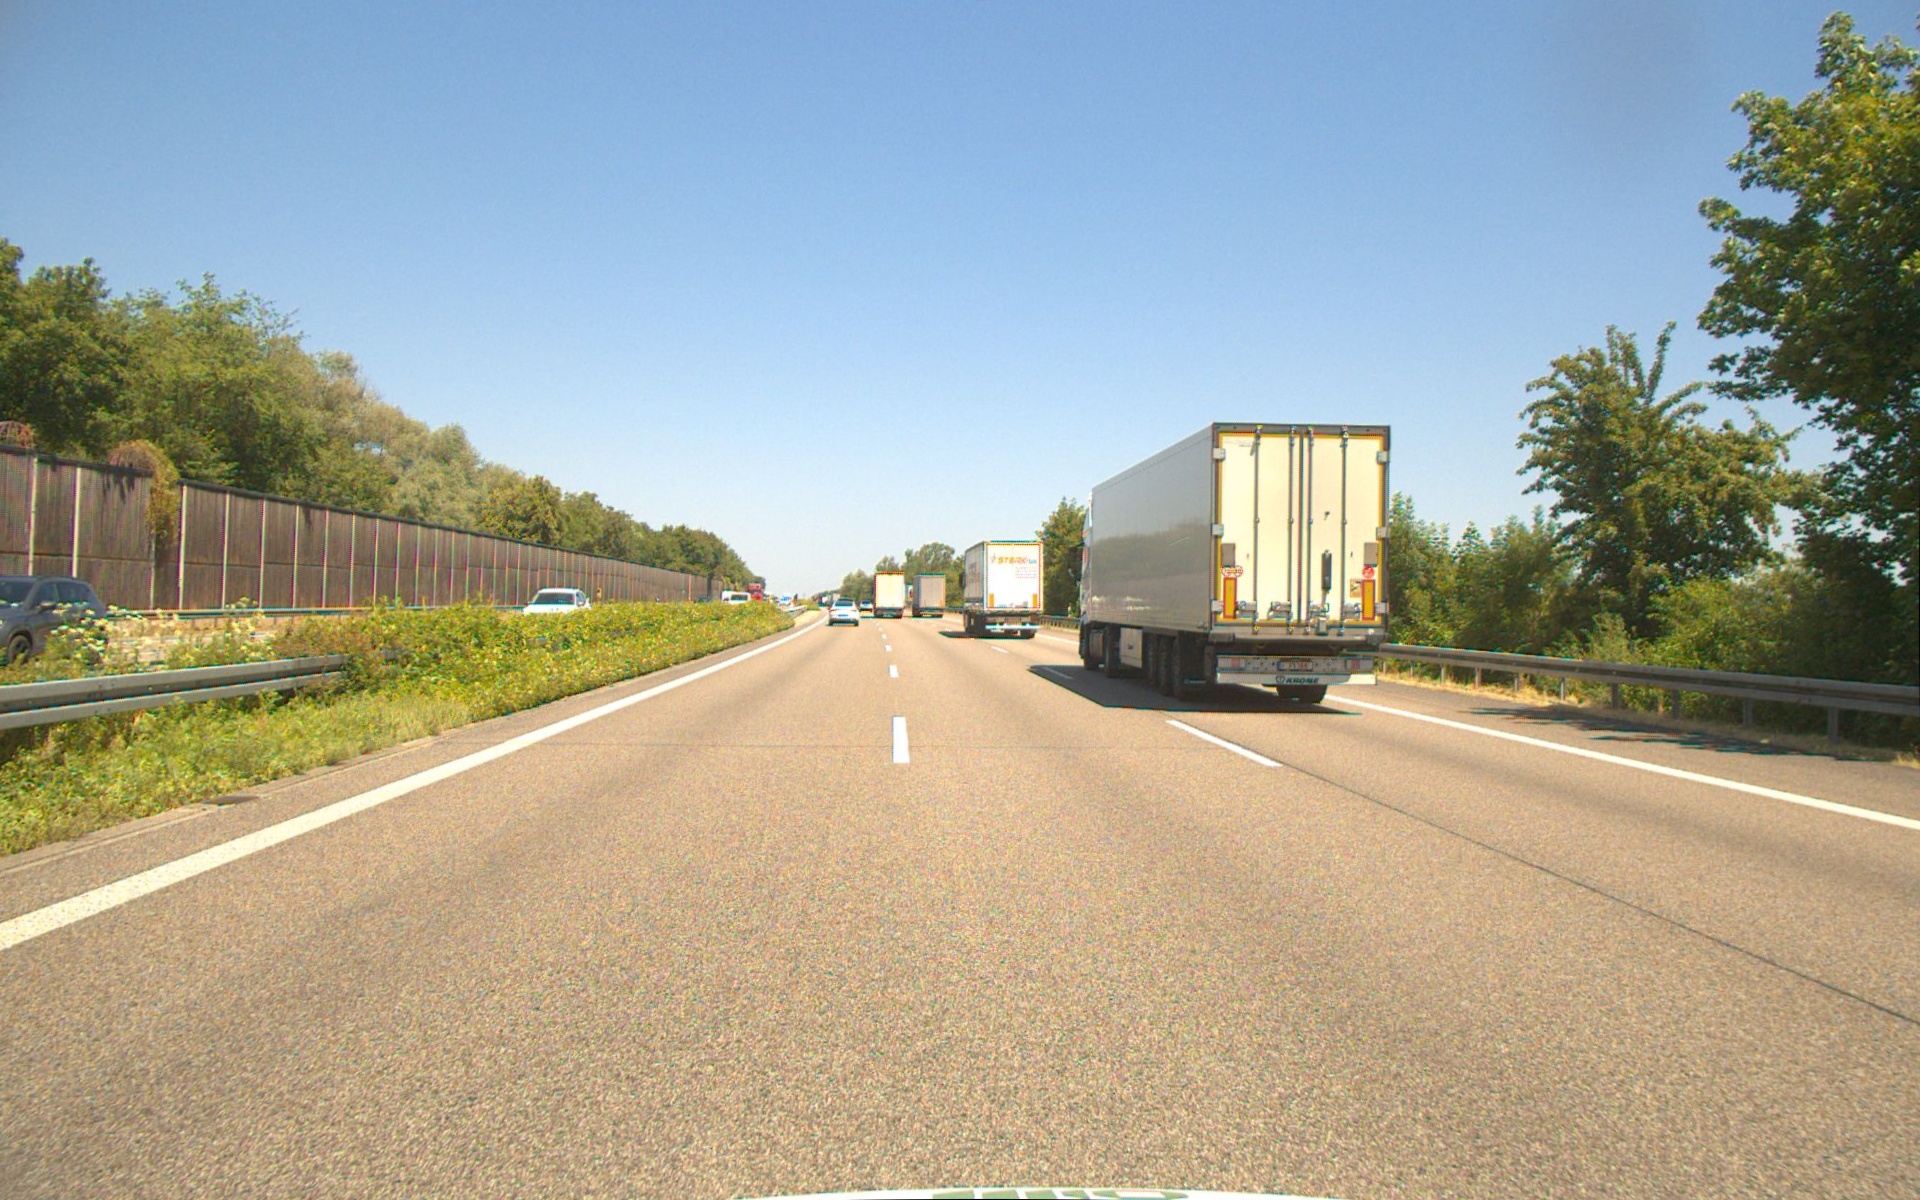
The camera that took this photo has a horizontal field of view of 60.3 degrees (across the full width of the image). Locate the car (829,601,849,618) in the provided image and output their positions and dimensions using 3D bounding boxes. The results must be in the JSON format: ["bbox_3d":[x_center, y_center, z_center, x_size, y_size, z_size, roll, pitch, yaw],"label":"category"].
[{"bbox_3d":[-11.704,0.932,159.770,1.818,1.645,3.997,1,0,-3],"label":"car"}]

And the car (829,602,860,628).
[{"bbox_3d":[-6.957,0.875,99.840,1.819,1.512,3.996,1,0,-4],"label":"car"}]

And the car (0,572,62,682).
[{"bbox_3d":[-15.572,0.403,24.686,1.954,1.676,4.690,1,0,-3],"label":"car"}]

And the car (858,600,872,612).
[{"bbox_3d":[-12.555,0.789,219.283,1.818,1.645,3.998,1,0,-2],"label":"car"}]

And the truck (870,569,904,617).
[{"bbox_3d":[-6.848,-0.585,154.425,2.654,4.157,13.461,2,-1,-4],"label":"truck"}]

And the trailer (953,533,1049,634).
[{"bbox_3d":[1.697,-0.660,76.090,2.655,4.160,14.134,1,0,-5],"label":"trailer"}]

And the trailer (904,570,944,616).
[{"bbox_3d":[-3.662,-0.638,166.157,2.652,4.289,13.192,2,-1,-7],"label":"trailer"}]

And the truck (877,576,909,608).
[{"bbox_3d":[-9.809,-1.131,241.363,3.311,4.378,11.428,4,-1,-8],"label":"truck"}]

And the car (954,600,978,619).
[{"bbox_3d":[0.502,0.885,147.733,1.819,1.645,3.996,1,0,-4],"label":"car"}]

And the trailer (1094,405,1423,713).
[{"bbox_3d":[4.606,-0.540,28.937,2.900,4.178,12.525,1,0,-3],"label":"trailer"}]

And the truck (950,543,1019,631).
[{"bbox_3d":[1.150,-0.598,82.067,2.654,4.160,6.957,1,0,-5],"label":"truck"}]

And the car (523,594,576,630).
[{"bbox_3d":[-24.380,0.690,98.428,1.953,2.049,5.382,1,0,-2],"label":"car"}]

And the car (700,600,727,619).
[{"bbox_3d":[-22.391,0.849,150.212,1.954,1.672,5.582,1,0,-4],"label":"car"}]

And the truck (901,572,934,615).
[{"bbox_3d":[-4.428,-0.594,172.784,2.640,4.289,7.826,2,-1,-7],"label":"truck"}]

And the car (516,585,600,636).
[{"bbox_3d":[-13.921,0.349,57.538,1.954,1.676,5.041,1,0,-4],"label":"car"}]

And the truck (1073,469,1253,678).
[{"bbox_3d":[4.303,-0.527,36.429,2.900,4.178,6.203,1,0,-3],"label":"truck"}]
